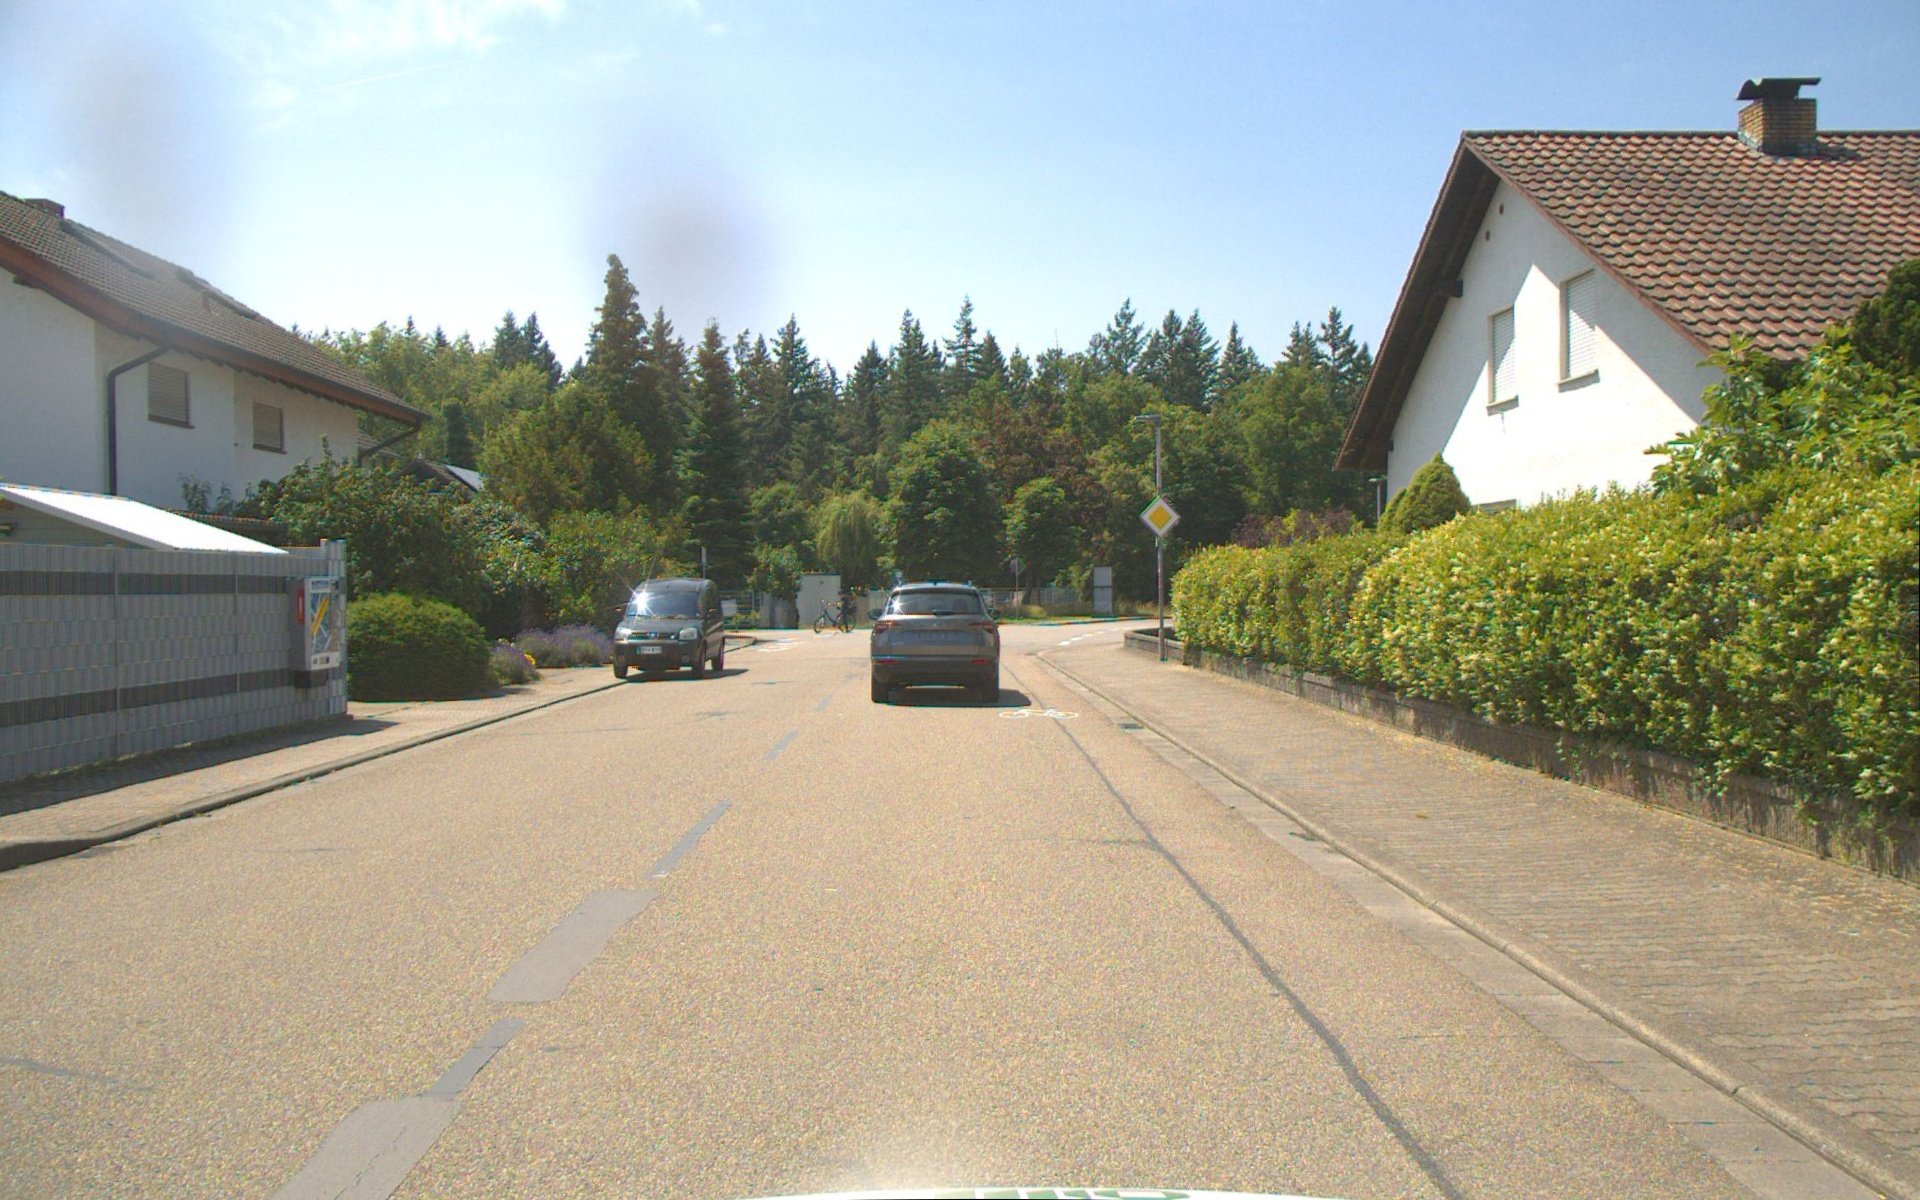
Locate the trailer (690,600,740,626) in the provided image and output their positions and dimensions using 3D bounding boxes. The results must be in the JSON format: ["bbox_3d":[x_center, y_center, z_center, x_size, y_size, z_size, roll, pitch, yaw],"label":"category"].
[{"bbox_3d":[-10.941,0.572,73.846,2.174,1.103,1.104,-1,0,-9],"label":"trailer"}]

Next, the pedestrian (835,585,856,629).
[{"bbox_3d":[-4.066,0.253,58.831,0.601,1.527,0.501,-1,0,-20],"label":"pedestrian"}]

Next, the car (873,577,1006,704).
[{"bbox_3d":[-0.329,0.518,23.496,1.727,1.646,3.999,0,0,-2],"label":"car"}]

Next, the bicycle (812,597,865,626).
[{"bbox_3d":[-4.352,0.415,59.228,1.815,0.980,0.441,-1,0,-19],"label":"bicycle"}]

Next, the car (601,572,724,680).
[{"bbox_3d":[-5.542,0.441,31.225,1.683,1.878,4.053,-1,0,-2],"label":"car"}]
